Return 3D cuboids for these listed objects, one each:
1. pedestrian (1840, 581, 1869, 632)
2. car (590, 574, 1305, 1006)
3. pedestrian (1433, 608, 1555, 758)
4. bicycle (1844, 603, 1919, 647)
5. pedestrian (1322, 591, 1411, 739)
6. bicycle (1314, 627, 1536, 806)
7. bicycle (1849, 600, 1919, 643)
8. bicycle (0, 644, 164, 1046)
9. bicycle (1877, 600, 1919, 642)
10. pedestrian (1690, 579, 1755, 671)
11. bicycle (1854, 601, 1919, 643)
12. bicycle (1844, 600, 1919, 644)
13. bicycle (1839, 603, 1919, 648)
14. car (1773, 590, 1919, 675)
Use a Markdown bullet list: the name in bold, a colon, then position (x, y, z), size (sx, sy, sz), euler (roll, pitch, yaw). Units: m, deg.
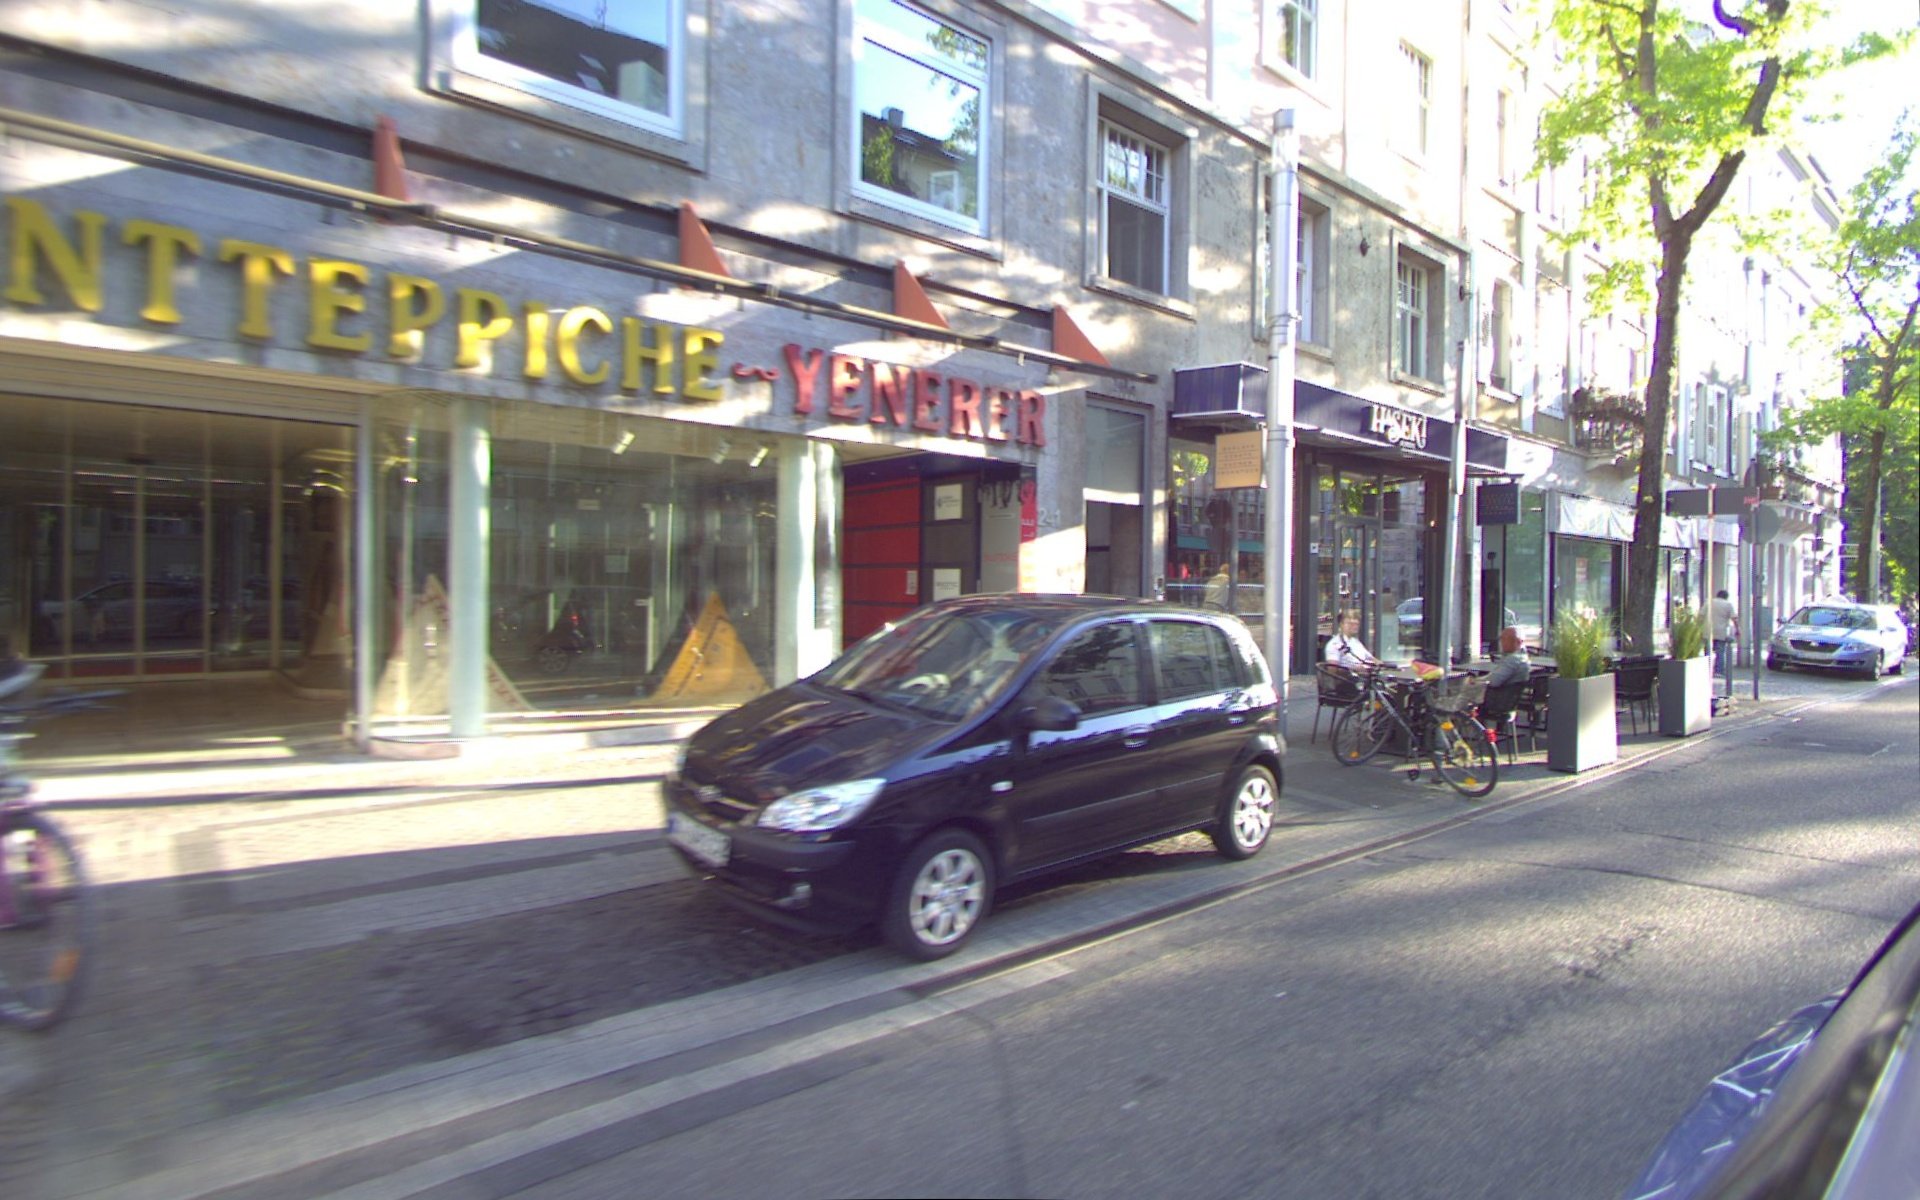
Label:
- **pedestrian**: position (35.771, 0.247, 40.472), size (0.842, 2.039, 0.831), euler (0, 0, 41)
- **car**: position (0.114, 0.645, 5.518), size (3.593, 1.475, 1.803), euler (-1, 4, -43)
- **pedestrian**: position (4.907, 0.726, 9.326), size (0.575, 1.281, 0.820), euler (0, 0, -34)
- **bicycle**: position (26.198, 0.695, 28.526), size (0.552, 1.169, 1.871), euler (-1, 1, -38)
- **pedestrian**: position (4.044, 0.615, 10.110), size (0.699, 1.404, 0.744), euler (0, 0, 13)
- **bicycle**: position (3.651, 0.860, 8.129), size (0.535, 1.152, 1.736), euler (0, 2, -19)
- **bicycle**: position (26.677, 0.608, 28.895), size (0.552, 1.169, 1.871), euler (-1, 1, -38)
- **bicycle**: position (-3.535, 0.768, 3.662), size (1.853, 1.087, 0.702), euler (2, 1, 41)
- **bicycle**: position (27.861, 0.596, 29.781), size (0.454, 1.169, 1.677), euler (0, 1, 10)
- **pedestrian**: position (14.400, 0.449, 19.110), size (0.742, 1.663, 0.805), euler (0, 1, -40)
- **bicycle**: position (27.097, 0.636, 29.225), size (0.341, 1.169, 1.871), euler (-1, 1, -38)
- **bicycle**: position (25.722, 0.604, 27.974), size (0.552, 1.169, 1.871), euler (-1, 1, -38)
- **bicycle**: position (25.247, 0.687, 27.600), size (0.552, 1.169, 1.871), euler (-1, 1, -38)
- **car**: position (18.703, 0.600, 21.152), size (4.344, 1.457, 1.780), euler (-1, 4, -40)
